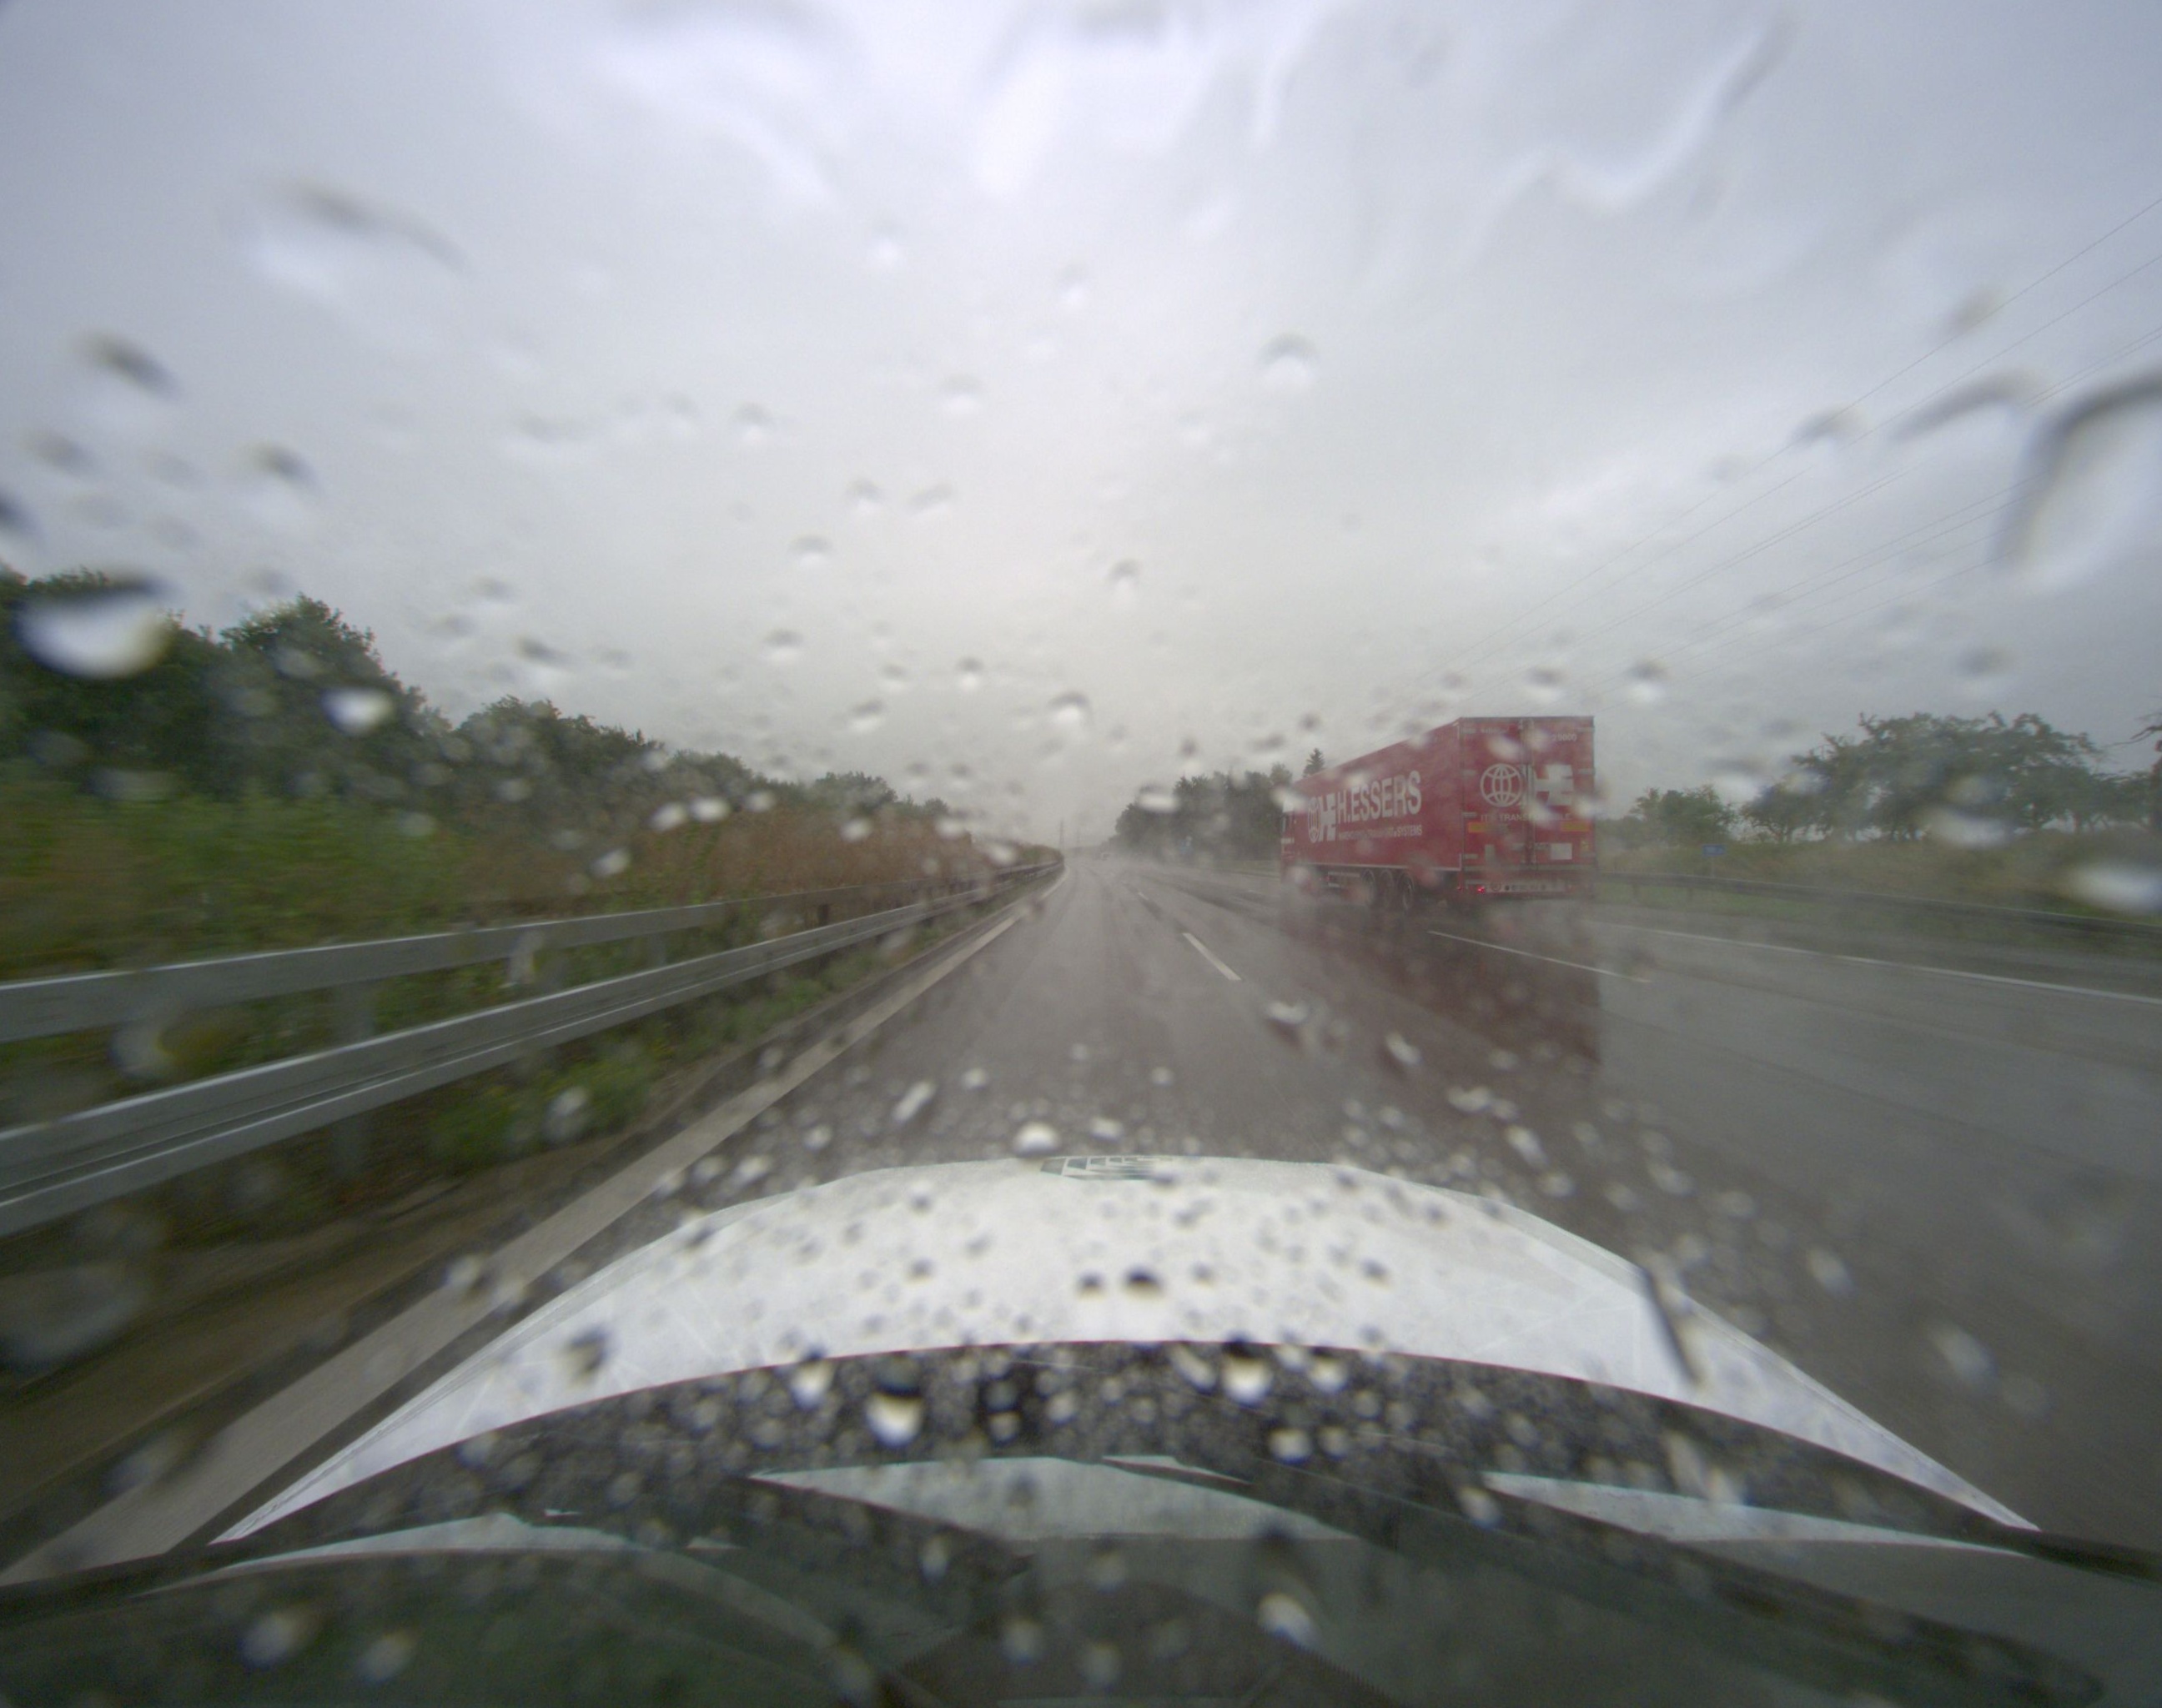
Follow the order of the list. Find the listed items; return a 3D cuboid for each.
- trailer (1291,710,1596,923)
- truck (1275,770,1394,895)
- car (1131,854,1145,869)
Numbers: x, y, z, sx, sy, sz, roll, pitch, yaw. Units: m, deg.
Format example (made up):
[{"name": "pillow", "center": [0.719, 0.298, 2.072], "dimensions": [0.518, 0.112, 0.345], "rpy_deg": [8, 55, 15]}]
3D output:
[{"name": "trailer", "center": [8.573, -0.701, 22.127], "dimensions": [2.610, 3.955, 13.637], "rpy_deg": [-1, 0, 2]}, {"name": "truck", "center": [8.844, -0.686, 29.030], "dimensions": [2.610, 3.955, 5.435], "rpy_deg": [-1, 0, 2]}, {"name": "car", "center": [8.170, 1.085, 117.644], "dimensions": [1.800, 2.158, 4.002], "rpy_deg": [-1, 0, 2]}]
